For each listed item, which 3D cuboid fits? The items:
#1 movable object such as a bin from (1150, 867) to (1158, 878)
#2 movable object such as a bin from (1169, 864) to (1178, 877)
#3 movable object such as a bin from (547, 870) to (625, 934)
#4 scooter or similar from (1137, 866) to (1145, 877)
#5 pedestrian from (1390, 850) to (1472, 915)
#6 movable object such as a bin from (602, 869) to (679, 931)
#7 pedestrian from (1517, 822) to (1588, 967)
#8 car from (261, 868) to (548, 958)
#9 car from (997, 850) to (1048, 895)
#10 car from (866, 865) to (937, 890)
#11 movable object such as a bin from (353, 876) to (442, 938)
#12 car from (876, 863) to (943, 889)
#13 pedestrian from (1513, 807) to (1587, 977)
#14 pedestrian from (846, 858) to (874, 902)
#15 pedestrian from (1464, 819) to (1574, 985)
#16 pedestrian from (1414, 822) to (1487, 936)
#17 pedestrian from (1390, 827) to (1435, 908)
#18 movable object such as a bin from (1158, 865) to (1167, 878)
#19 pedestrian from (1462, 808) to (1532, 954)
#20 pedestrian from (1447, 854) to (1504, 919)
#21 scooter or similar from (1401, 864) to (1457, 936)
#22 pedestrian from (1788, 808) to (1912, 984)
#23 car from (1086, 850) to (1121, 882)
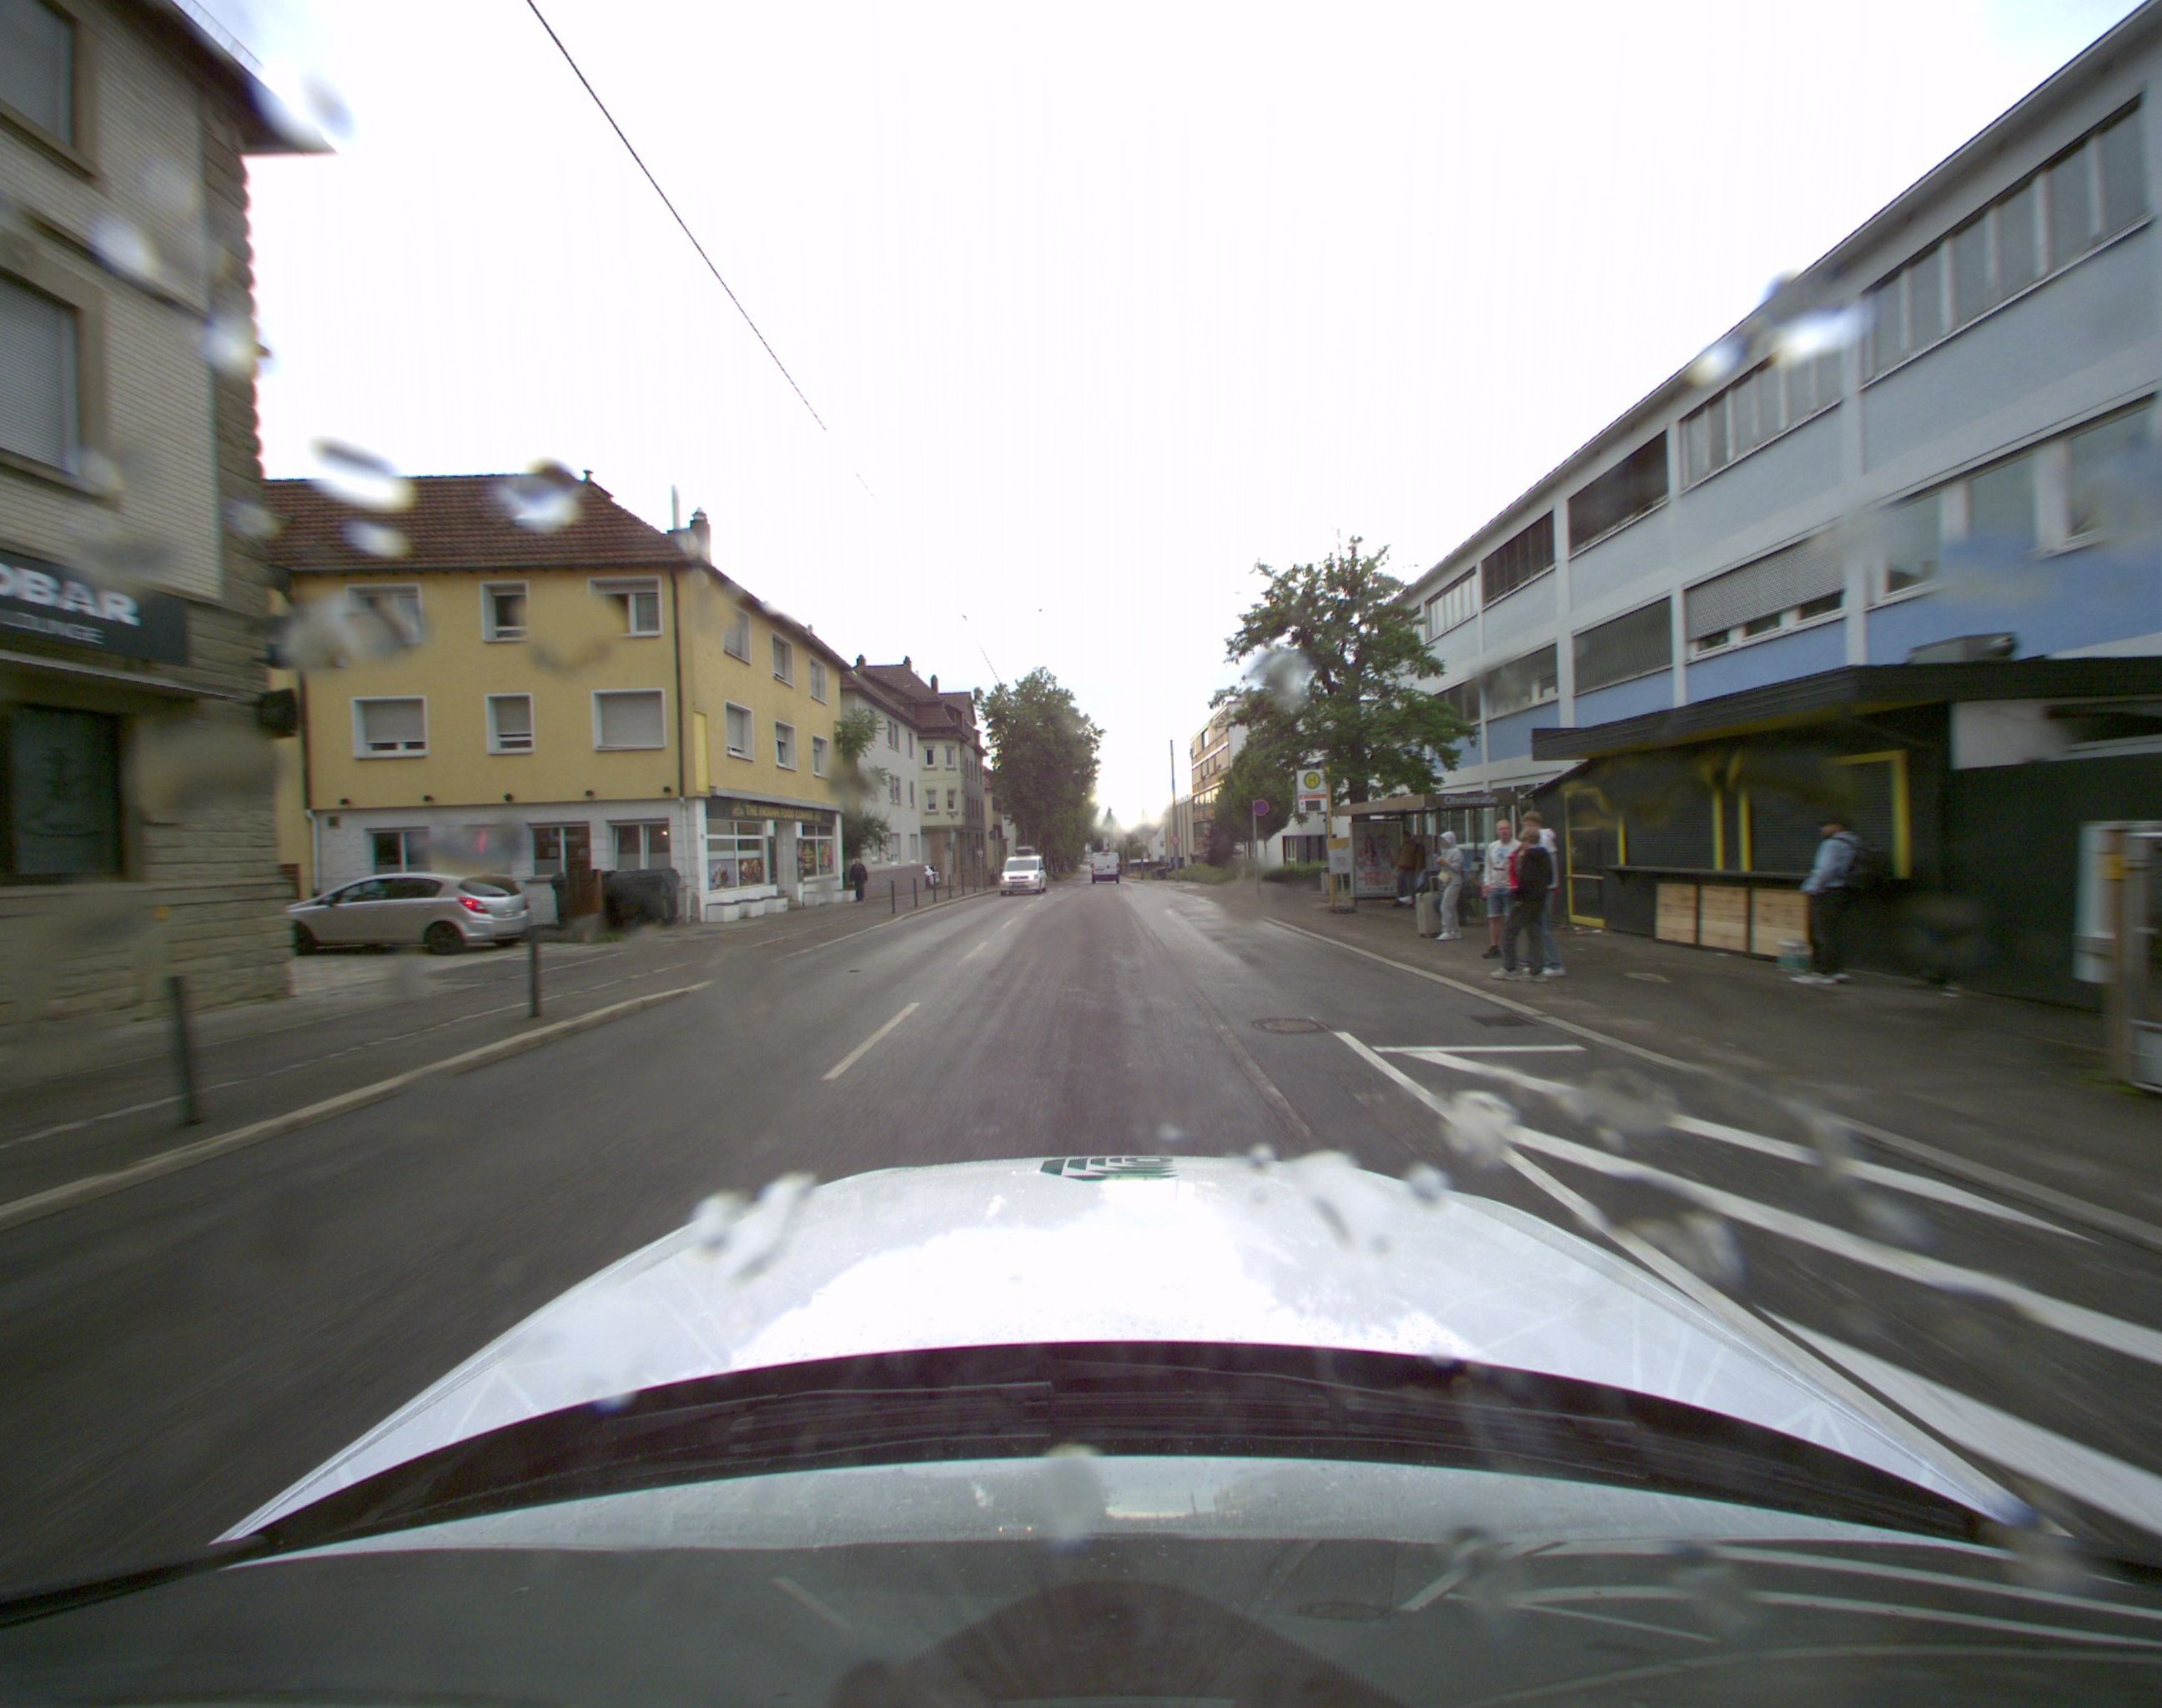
[{"bbox_3d":[6.650,1.671,73.821,0.617,0.936,0.686,-5,-1,2],"label":"movable object such as a bin"},{"bbox_3d":[8.407,1.506,74.020,0.692,1.082,0.779,-5,-1,2],"label":"movable object such as a bin"},{"bbox_3d":[-11.990,1.148,19.764,1.242,1.439,0.983,-2,0,0],"label":"movable object such as a bin"},{"bbox_3d":[6.804,2.010,92.719,0.604,1.162,1.697,-2,-1,-4],"label":"scooter or similar"},{"bbox_3d":[7.419,0.585,17.305,1.353,1.273,0.740,-3,0,-5],"label":"pedestrian"},{"bbox_3d":[-10.674,1.102,19.782,1.297,1.402,0.983,-2,0,0],"label":"movable object such as a bin"},{"bbox_3d":[5.799,0.481,10.038,0.444,1.708,0.558,-5,0,5],"label":"pedestrian"},{"bbox_3d":[-12.170,1.022,14.861,3.554,1.486,1.946,0,0,-1],"label":"car"},{"bbox_3d":[-2.636,0.839,37.605,1.875,1.870,4.454,-3,-1,1],"label":"car"},{"bbox_3d":[-11.258,1.466,51.199,3.974,1.453,2.000,1,-1,0],"label":"car"},{"bbox_3d":[-16.475,1.263,19.655,1.205,1.402,1.061,-2,0,1],"label":"movable object such as a bin"},{"bbox_3d":[-11.912,1.530,56.847,4.168,1.704,2.000,1,-1,1],"label":"car"},{"bbox_3d":[5.387,0.420,9.382,0.482,1.875,0.635,-5,0,17],"label":"pedestrian"},{"bbox_3d":[-8.578,1.012,31.653,0.813,1.679,0.992,-1,-1,-2],"label":"pedestrian"},{"bbox_3d":[4.816,0.506,8.978,0.639,1.710,0.741,-5,0,-33],"label":"pedestrian"},{"bbox_3d":[5.910,0.384,13.054,0.659,1.741,0.828,-3,0,-4],"label":"pedestrian"},{"bbox_3d":[7.797,0.318,19.178,0.645,1.831,0.740,-3,0,-4],"label":"pedestrian"},{"bbox_3d":[7.434,1.575,73.975,0.692,1.082,0.779,-5,-1,2],"label":"movable object such as a bin"},{"bbox_3d":[5.497,0.347,10.783,0.458,1.840,0.604,-5,0,-4],"label":"pedestrian"},{"bbox_3d":[7.623,0.614,15.769,0.659,1.199,0.740,-3,0,-4],"label":"pedestrian"},{"bbox_3d":[5.878,0.768,13.771,0.616,1.140,0.567,-3,0,-4],"label":"scooter or similar"},{"bbox_3d":[7.586,0.394,8.047,0.677,1.625,0.619,-5,0,-28],"label":"pedestrian"},{"bbox_3d":[1.634,0.872,61.312,2.340,2.160,4.775,-2,1,-1],"label":"car"}]
